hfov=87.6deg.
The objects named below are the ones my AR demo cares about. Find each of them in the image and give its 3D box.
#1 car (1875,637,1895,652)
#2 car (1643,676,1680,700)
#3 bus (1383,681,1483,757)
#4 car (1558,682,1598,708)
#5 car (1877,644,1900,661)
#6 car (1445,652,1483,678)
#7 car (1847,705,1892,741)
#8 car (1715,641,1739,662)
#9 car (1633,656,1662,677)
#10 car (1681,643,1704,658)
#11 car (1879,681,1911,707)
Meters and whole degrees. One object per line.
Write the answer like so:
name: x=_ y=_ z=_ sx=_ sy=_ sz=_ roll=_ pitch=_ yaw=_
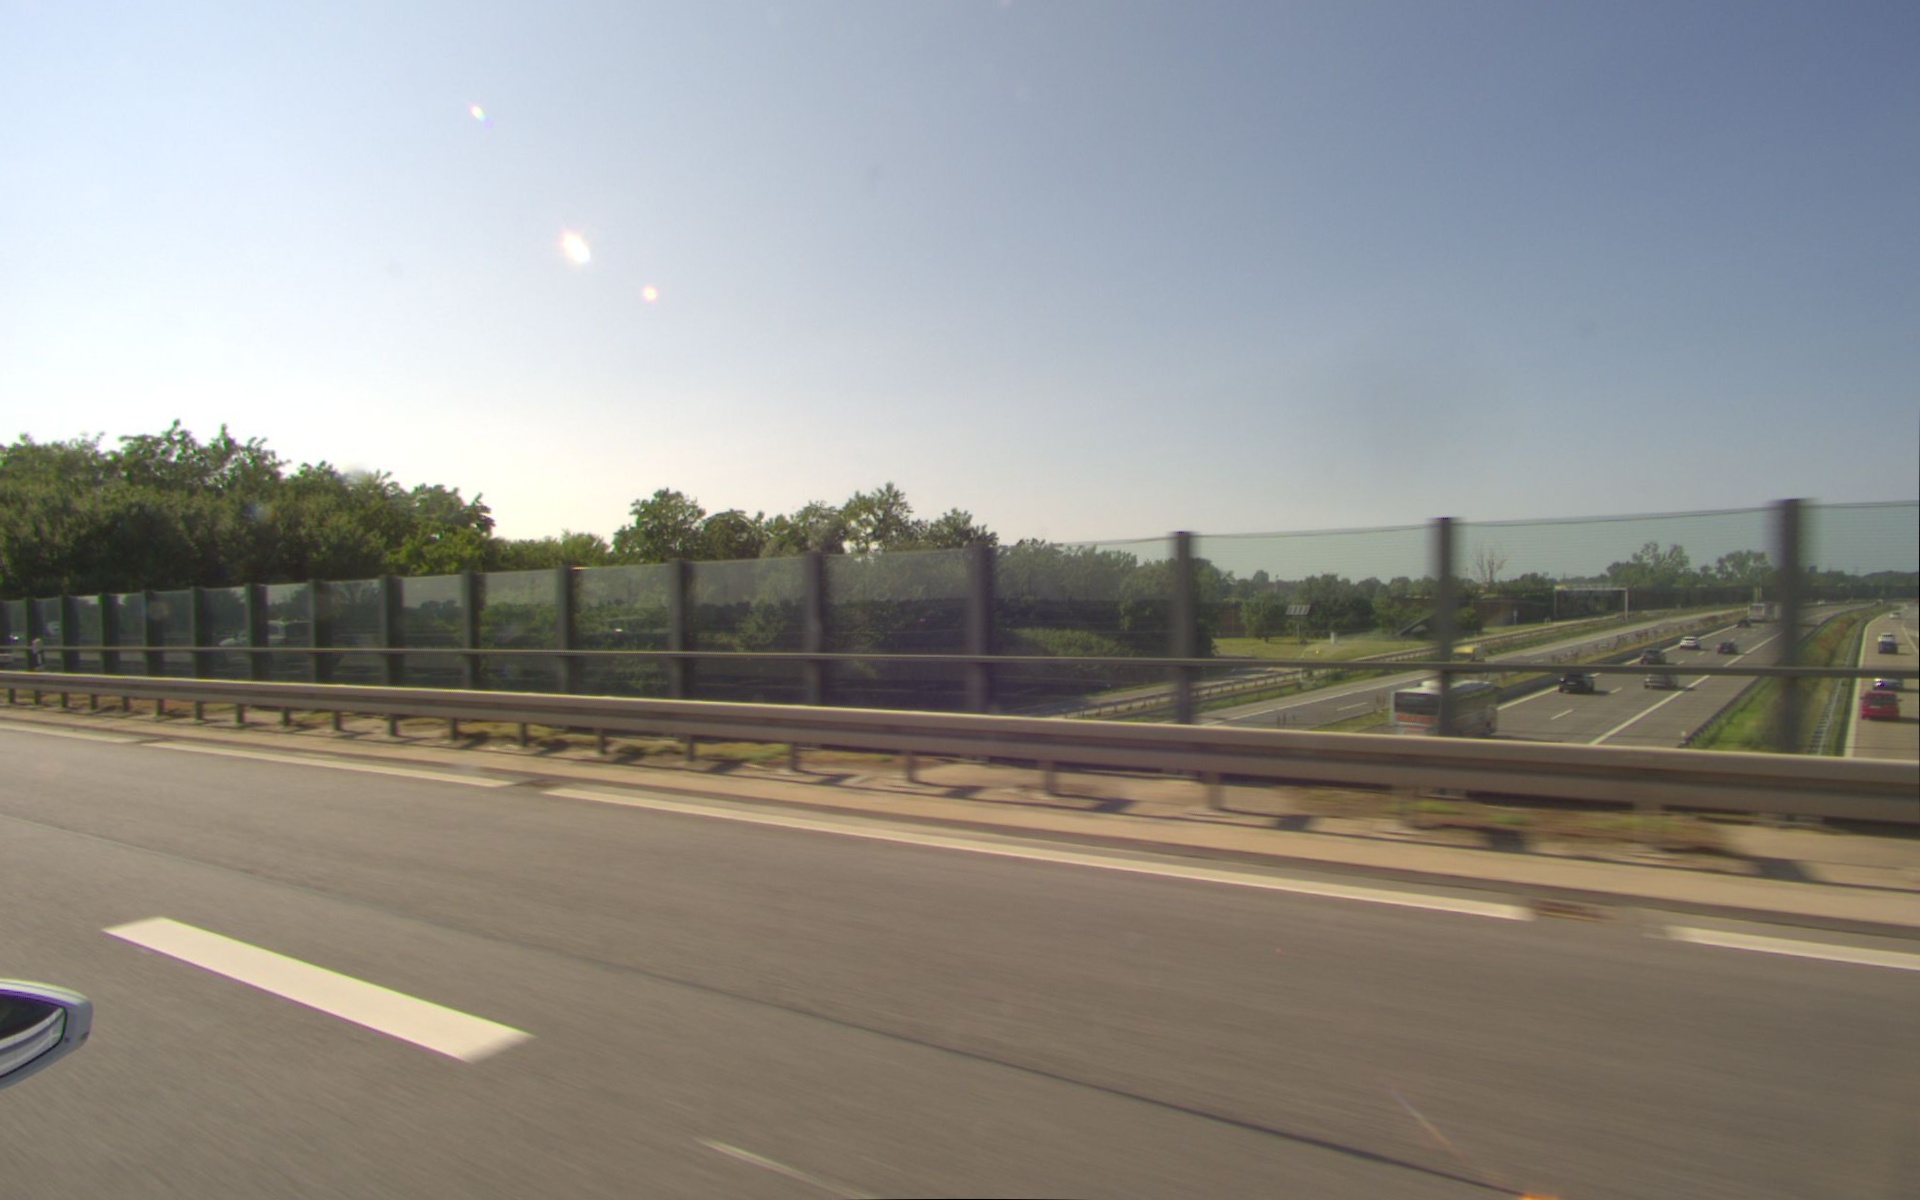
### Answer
car: x=130.624 y=6.271 z=141.372 sx=1.978 sy=2.039 sz=3.967 roll=-1 pitch=-2 yaw=42
car: x=56.096 y=7.025 z=80.044 sx=1.867 sy=1.672 sz=3.966 roll=-1 pitch=-2 yaw=43
bus: x=24.643 y=6.025 z=51.929 sx=2.521 sy=3.204 sz=8.322 roll=-1 pitch=-1 yaw=41
car: x=47.443 y=7.263 z=76.838 sx=1.860 sy=1.787 sz=3.965 roll=-1 pitch=-2 yaw=44
car: x=112.592 y=6.333 z=121.470 sx=1.978 sy=2.039 sz=3.967 roll=-1 pitch=-2 yaw=42
car: x=49.542 y=6.338 z=98.458 sx=2.112 sy=2.374 sz=4.947 roll=-1 pitch=-2 yaw=42
car: x=54.461 y=7.311 z=59.960 sx=1.860 sy=1.787 sz=3.964 roll=-1 pitch=-2 yaw=44
car: x=89.632 y=6.005 z=116.976 sx=1.859 sy=2.388 sz=4.678 roll=-1 pitch=-2 yaw=42
car: x=70.754 y=6.835 z=103.069 sx=1.860 sy=2.037 sz=3.965 roll=-1 pitch=-2 yaw=44
car: x=90.692 y=6.194 z=123.949 sx=1.860 sy=1.787 sz=3.965 roll=-1 pitch=-2 yaw=43
car: x=74.335 y=7.435 z=79.582 sx=1.762 sy=1.794 sz=3.963 roll=-1 pitch=-2 yaw=45
